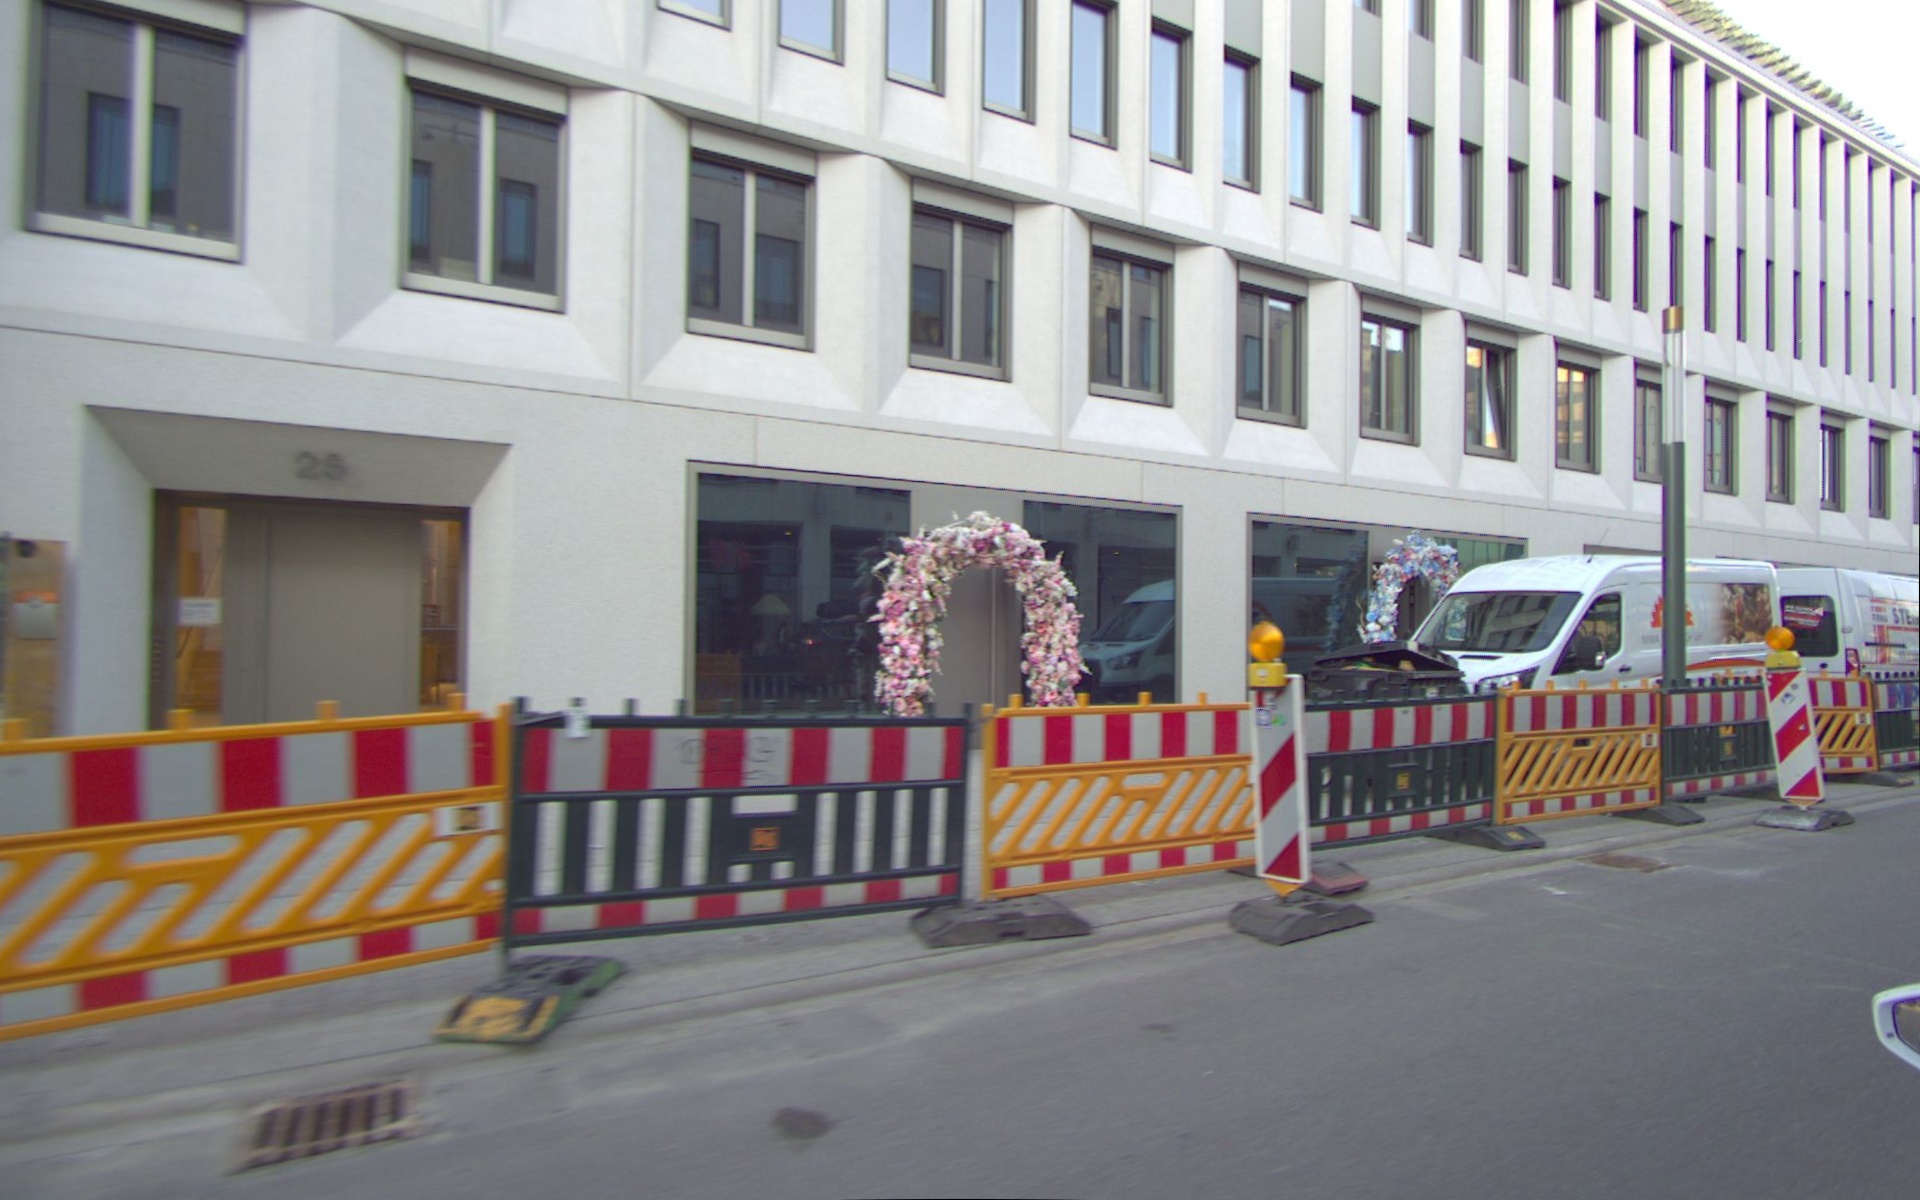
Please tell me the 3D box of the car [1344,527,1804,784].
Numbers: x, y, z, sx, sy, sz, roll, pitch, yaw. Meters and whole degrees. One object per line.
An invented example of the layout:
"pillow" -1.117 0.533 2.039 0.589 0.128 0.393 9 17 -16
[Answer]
"car" 7.570 0.627 12.191 5.926 2.503 2.164 2 -1 -29

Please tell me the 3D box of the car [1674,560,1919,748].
"car" 13.973 0.809 15.824 5.927 2.503 2.164 2 -1 -30

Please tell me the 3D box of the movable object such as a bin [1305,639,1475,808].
"movable object such as a bin" 4.216 1.140 9.828 1.383 1.485 1.034 2 -1 -41
